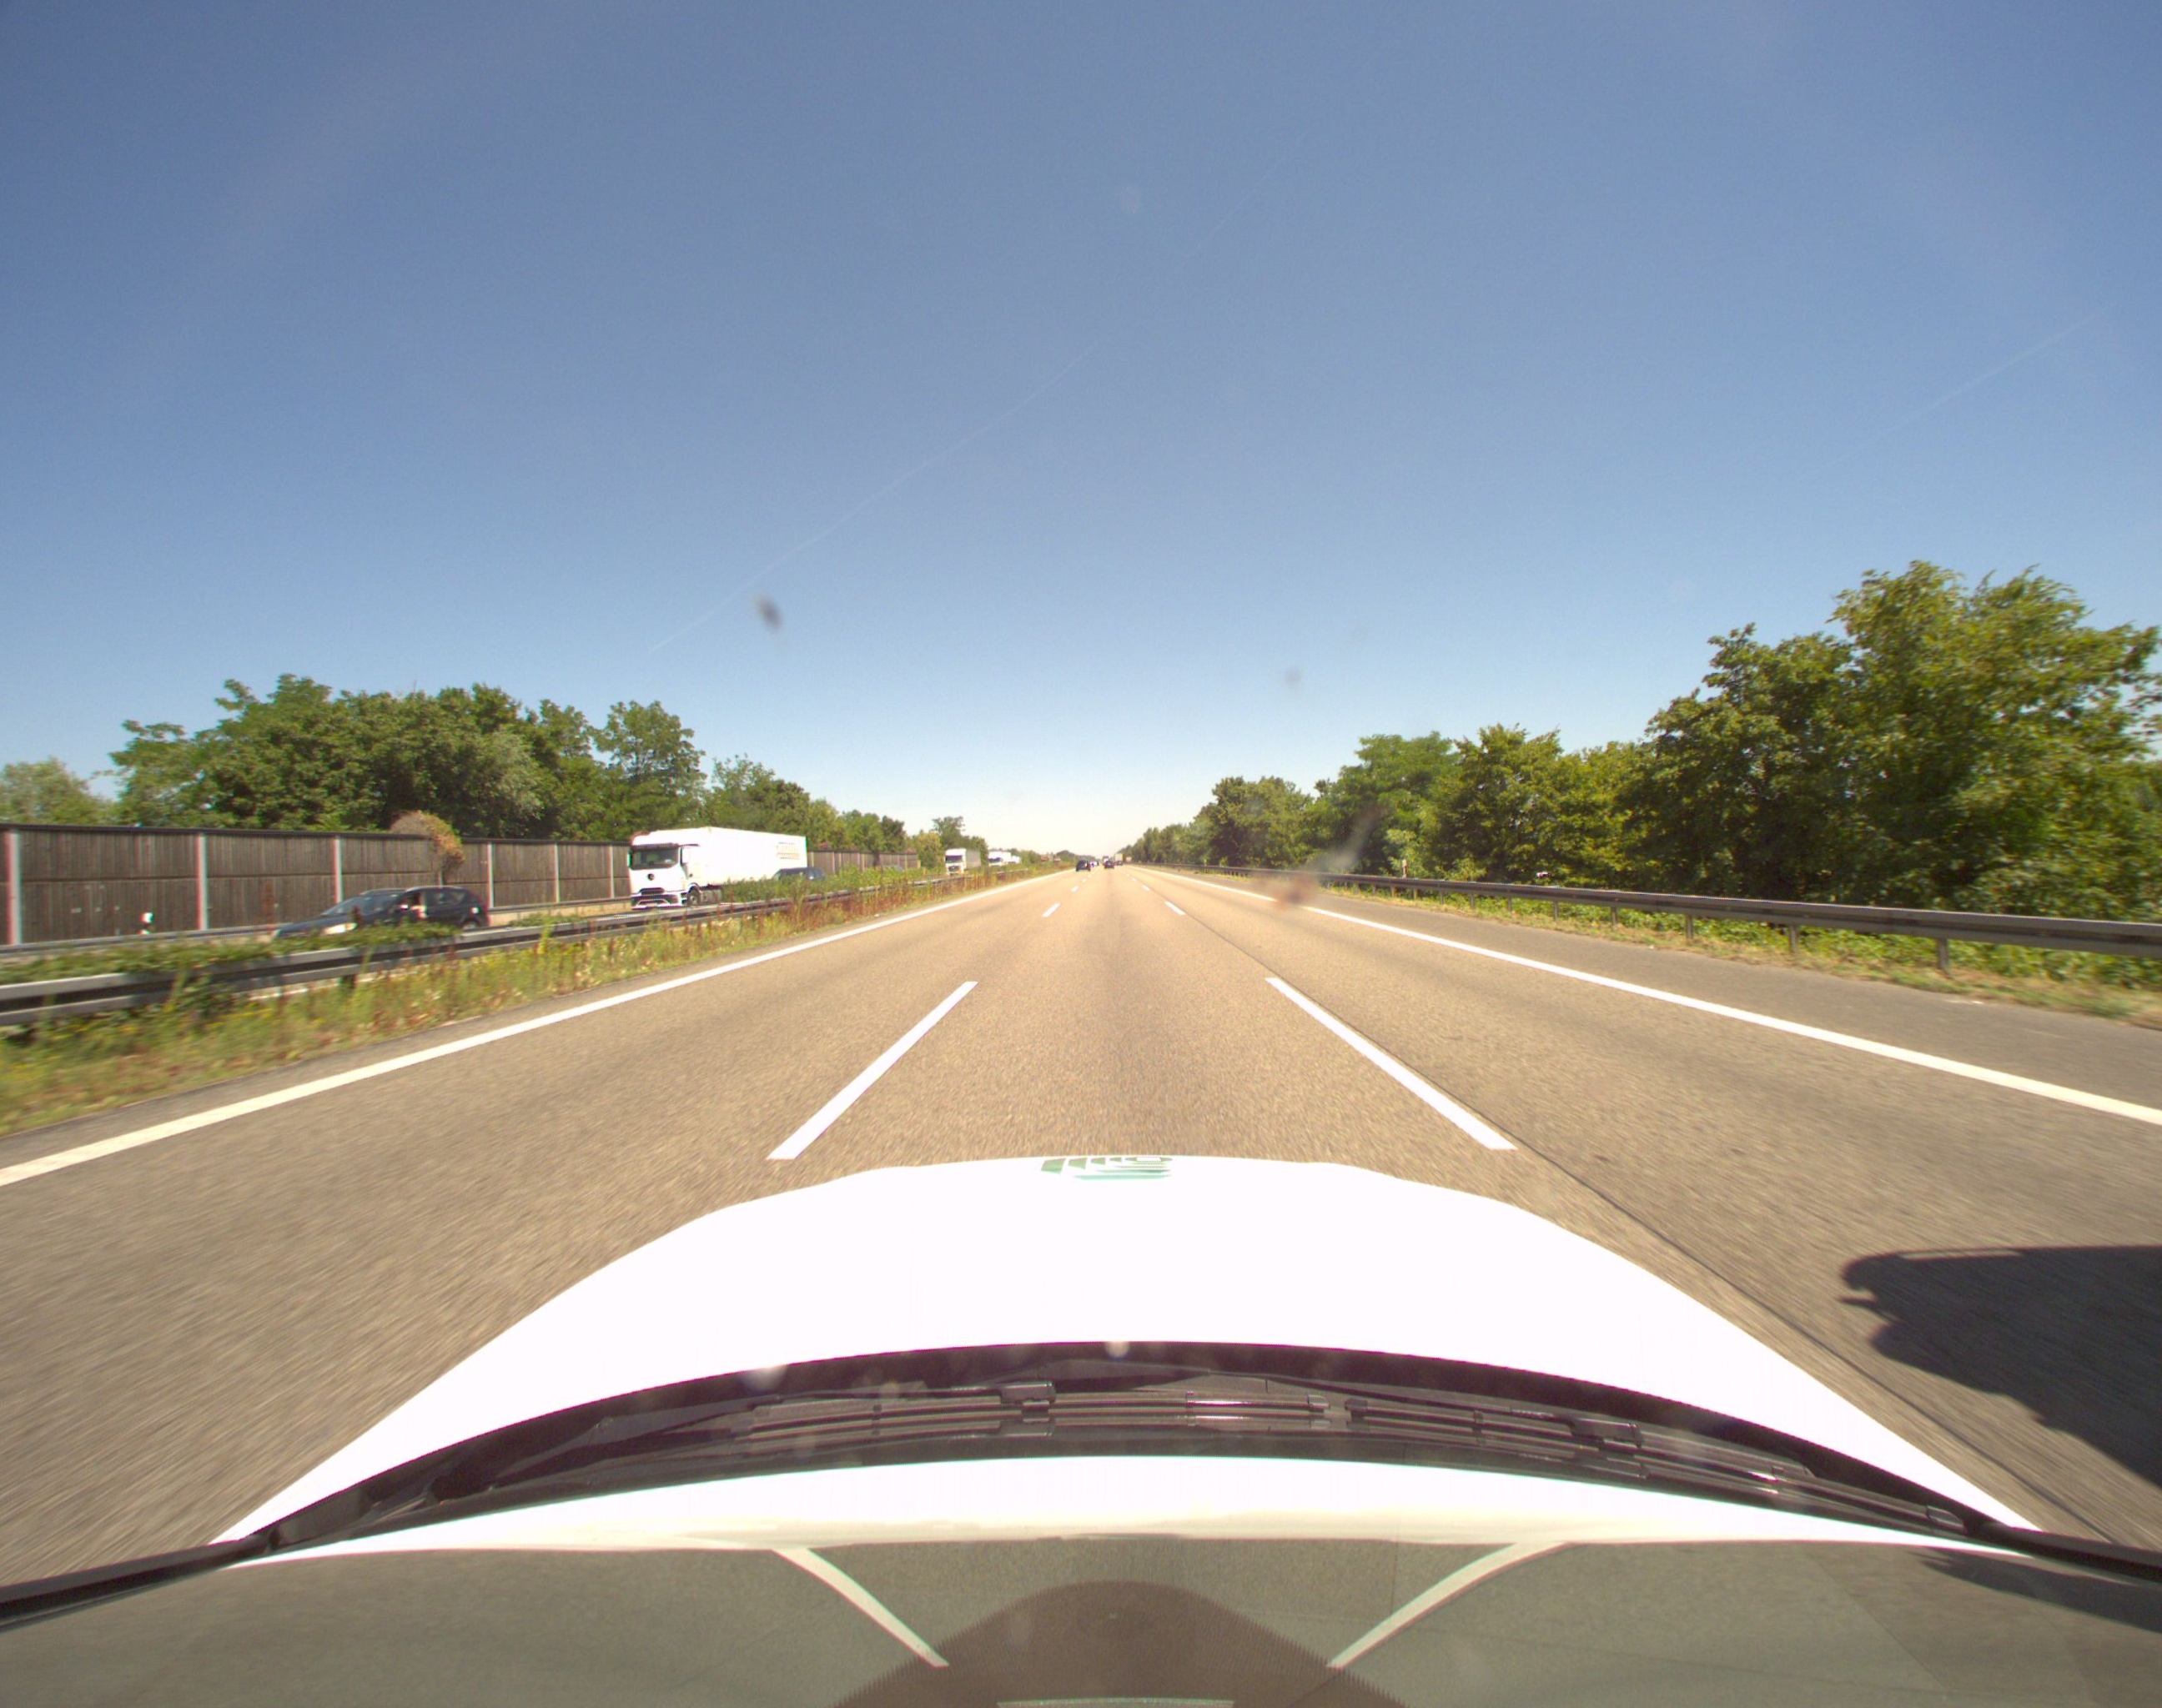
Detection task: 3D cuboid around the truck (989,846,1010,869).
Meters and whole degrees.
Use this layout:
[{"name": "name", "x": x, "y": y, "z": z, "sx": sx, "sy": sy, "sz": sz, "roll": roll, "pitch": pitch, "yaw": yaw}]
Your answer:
[{"name": "truck", "x": -15.538, "y": 0.711, "z": 155.038, "sx": 2.831, "sy": 4.207, "sz": 7.718, "roll": -1, "pitch": 0, "yaw": 2}]

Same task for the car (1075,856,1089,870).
[{"name": "car", "x": 0.122, "y": 1.209, "z": 113.617, "sx": 1.874, "sy": 1.792, "sz": 4.000, "roll": -2, "pitch": 0, "yaw": 0}]

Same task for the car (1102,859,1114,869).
[{"name": "car", "x": 4.582, "y": 1.639, "z": 138.168, "sx": 1.896, "sy": 1.584, "sz": 4.306, "roll": -2, "pitch": -1, "yaw": 2}]

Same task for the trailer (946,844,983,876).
[{"name": "trailer", "x": -17.562, "y": 0.960, "z": 123.673, "sx": 3.154, "sy": 4.478, "sz": 12.959, "roll": -1, "pitch": -1, "yaw": 2}]

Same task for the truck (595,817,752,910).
[{"name": "truck", "x": -20.177, "y": 0.462, "z": 41.090, "sx": 3.568, "sy": 4.103, "sz": 7.842, "roll": -3, "pitch": 0, "yaw": 2}]

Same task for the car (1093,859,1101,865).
[{"name": "car", "x": 4.605, "y": 2.475, "z": 238.764, "sx": 2.120, "sy": 1.645, "sz": 4.306, "roll": -2, "pitch": -1, "yaw": 2}]

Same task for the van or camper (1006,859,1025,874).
[{"name": "van or camper", "x": -11.888, "y": 2.189, "z": 148.076, "sx": 2.456, "sy": 2.576, "sz": 7.414, "roll": -1, "pitch": -1, "yaw": 2}]

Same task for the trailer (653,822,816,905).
[{"name": "trailer", "x": -19.886, "y": 0.531, "z": 48.248, "sx": 3.597, "sy": 4.103, "sz": 12.802, "roll": -3, "pitch": 0, "yaw": 2}]

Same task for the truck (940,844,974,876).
[{"name": "truck", "x": -17.754, "y": 0.889, "z": 117.172, "sx": 3.205, "sy": 4.440, "sz": 7.874, "roll": -1, "pitch": -1, "yaw": 2}]

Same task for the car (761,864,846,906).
[{"name": "car", "x": -11.856, "y": 1.278, "z": 35.125, "sx": 1.815, "sy": 1.596, "sz": 4.750, "roll": -3, "pitch": 0, "yaw": 2}]

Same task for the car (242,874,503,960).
[{"name": "car", "x": -16.195, "y": 1.347, "z": 19.024, "sx": 1.986, "sy": 1.596, "sz": 4.508, "roll": -3, "pitch": 0, "yaw": 2}]

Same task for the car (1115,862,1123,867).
[{"name": "car", "x": 11.149, "y": 3.081, "z": 240.237, "sx": 2.120, "sy": 1.584, "sz": 4.306, "roll": -2, "pitch": -1, "yaw": 2}]

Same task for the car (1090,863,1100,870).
[{"name": "car", "x": 3.081, "y": 2.792, "z": 182.852, "sx": 2.120, "sy": 1.645, "sz": 4.306, "roll": -2, "pitch": -1, "yaw": 2}]
